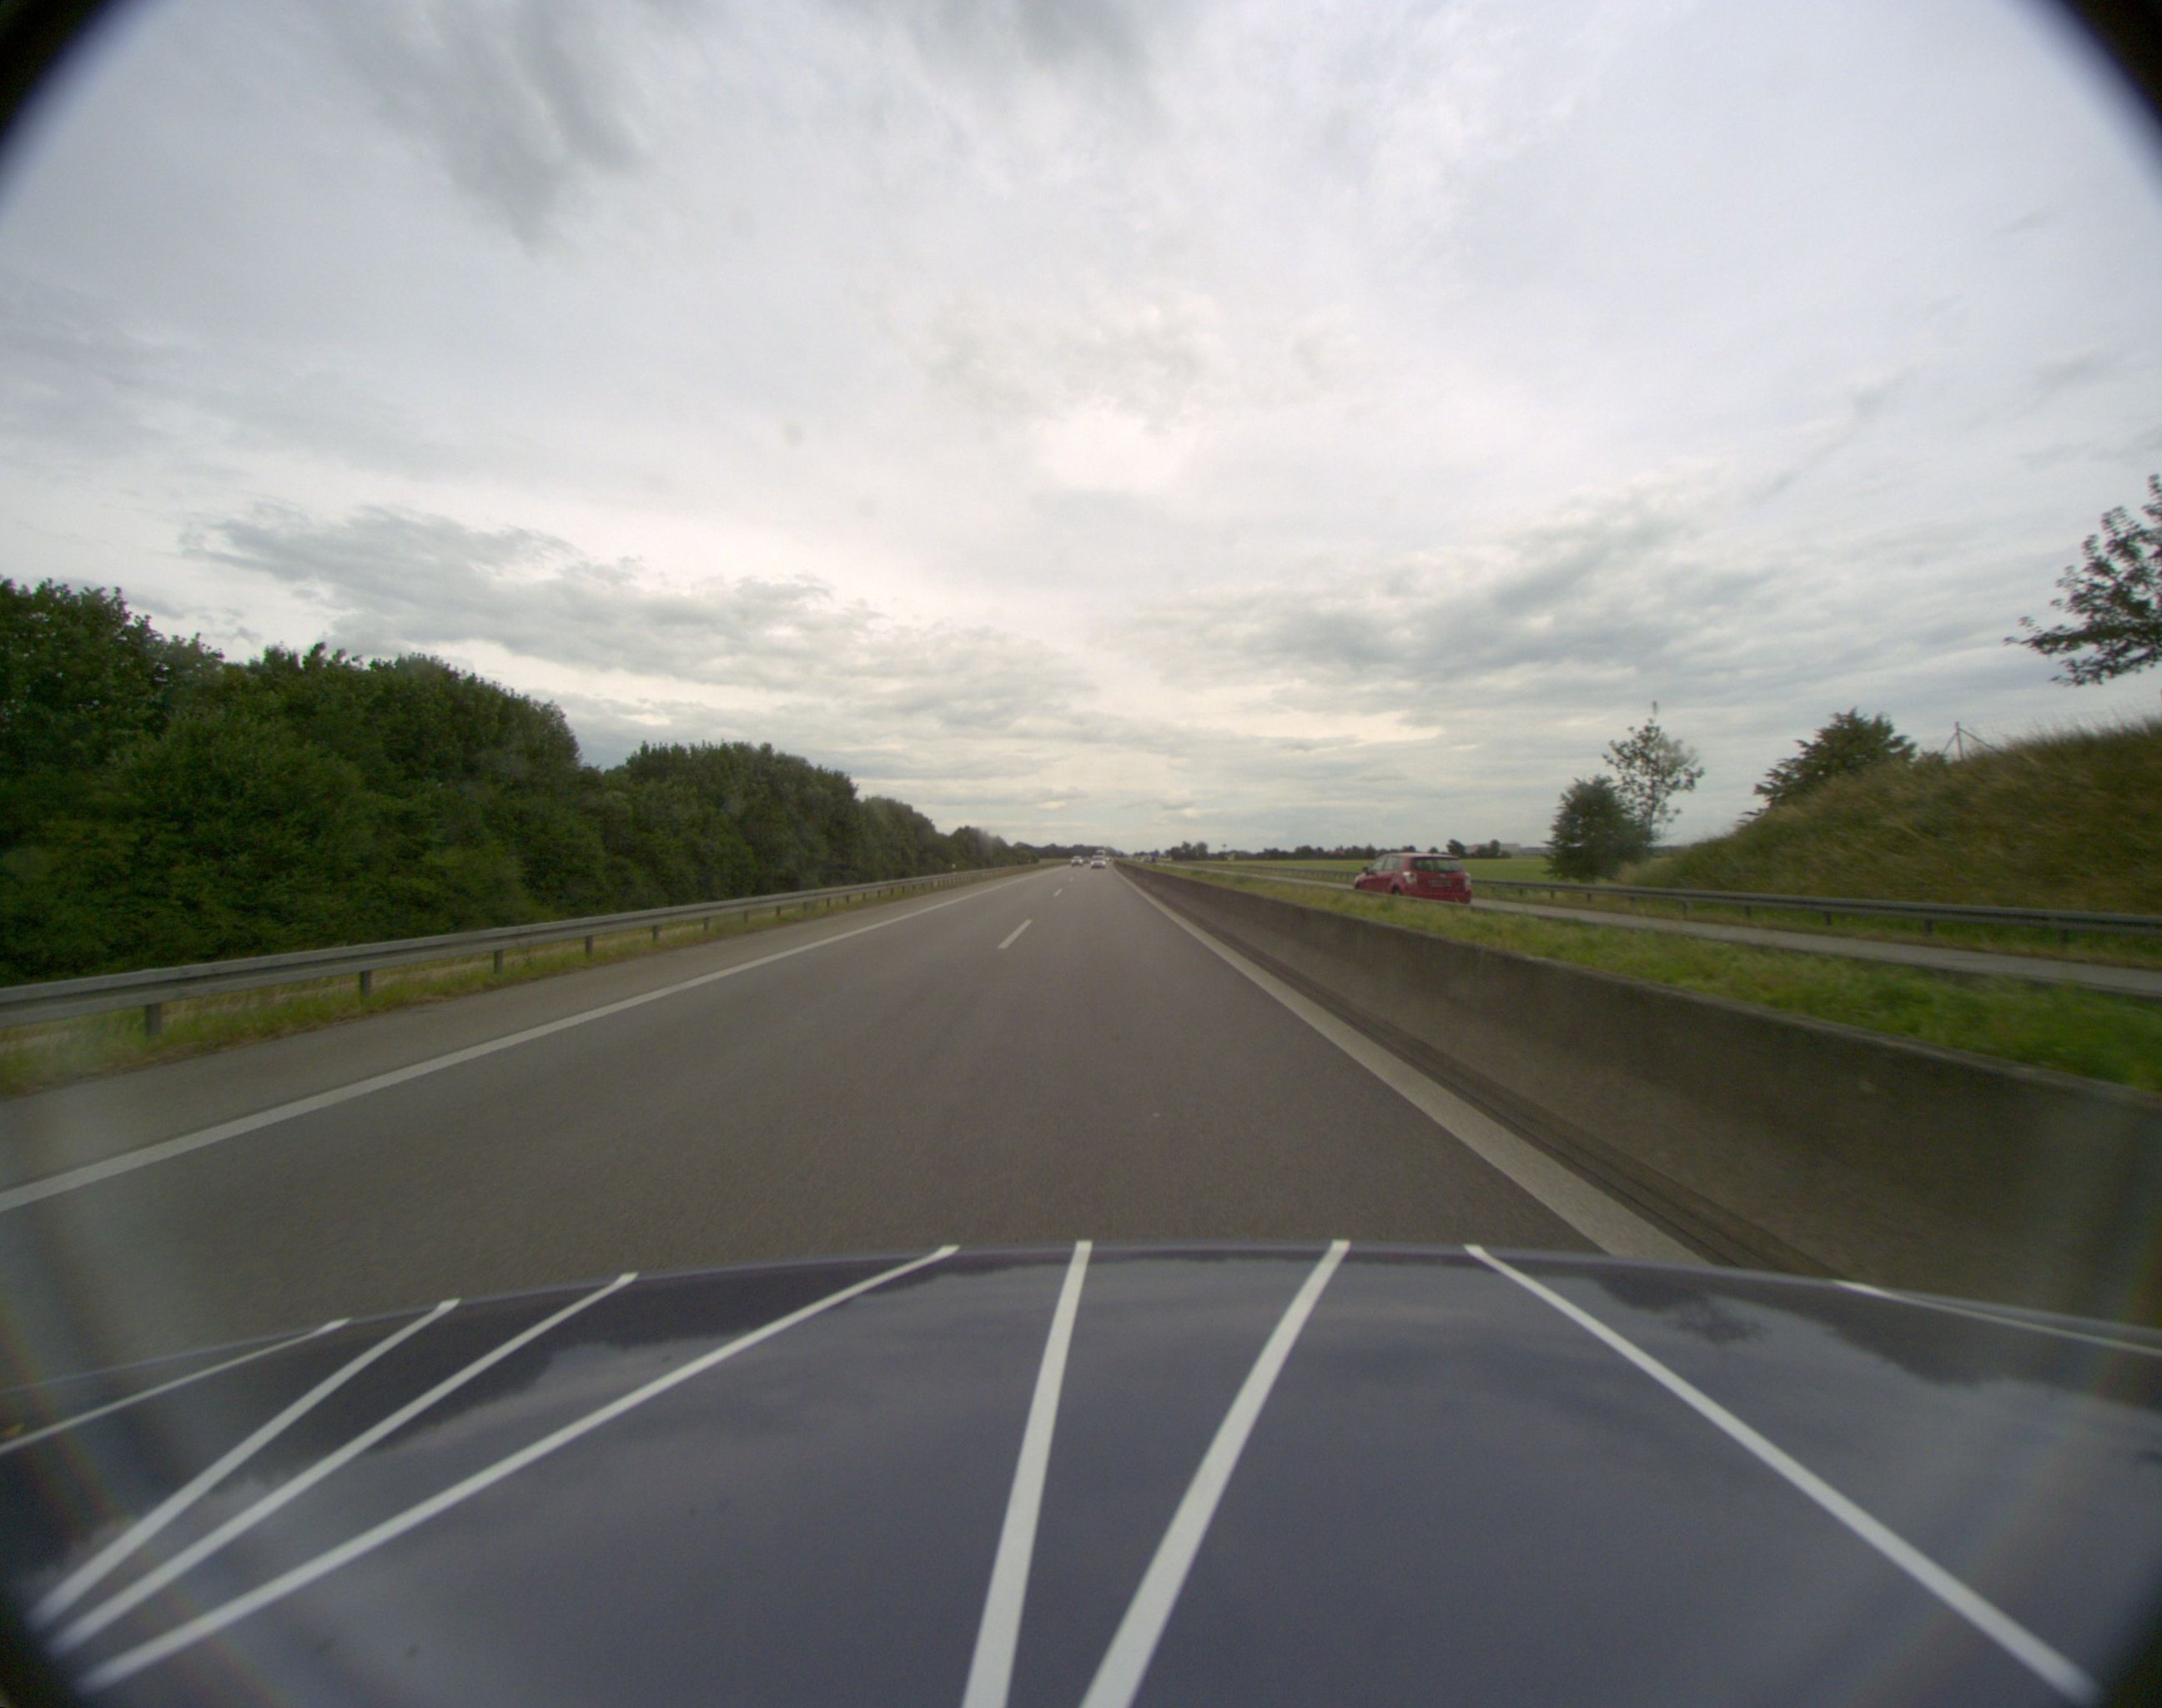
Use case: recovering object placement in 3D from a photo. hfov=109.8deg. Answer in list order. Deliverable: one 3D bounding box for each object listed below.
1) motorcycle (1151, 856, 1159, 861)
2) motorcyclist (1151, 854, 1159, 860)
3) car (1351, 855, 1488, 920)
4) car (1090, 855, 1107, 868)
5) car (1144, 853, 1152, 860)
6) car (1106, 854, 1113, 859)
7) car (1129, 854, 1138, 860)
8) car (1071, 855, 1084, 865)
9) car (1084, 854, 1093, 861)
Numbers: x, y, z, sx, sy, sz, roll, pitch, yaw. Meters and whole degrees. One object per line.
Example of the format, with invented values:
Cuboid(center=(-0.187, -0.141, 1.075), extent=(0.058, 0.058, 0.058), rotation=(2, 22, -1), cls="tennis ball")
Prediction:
Cuboid(center=(15.953, 1.029, 164.182), extent=(1.570, 1.072, 2.982), rotation=(1, 0, 2), cls="motorcycle")
Cuboid(center=(15.954, 0.689, 164.160), extent=(1.570, 1.363, 1.252), rotation=(1, 1, 1), cls="motorcyclist")
Cuboid(center=(9.108, 0.827, 20.906), extent=(1.850, 1.562, 4.361), rotation=(1, 0, 1), cls="car")
Cuboid(center=(2.223, 0.905, 96.152), extent=(1.916, 1.553, 4.287), rotation=(-1, 0, -2), cls="car")
Cuboid(center=(17.044, 0.634, 193.863), extent=(1.840, 1.617, 4.691), rotation=(1, 0, 2), cls="car")
Cuboid(center=(8.306, 0.683, 219.981), extent=(1.915, 1.553, 4.289), rotation=(-1, 0, 3), cls="car")
Cuboid(center=(12.502, 0.698, 181.466), extent=(1.870, 1.565, 4.694), rotation=(1, 0, 0), cls="car")
Cuboid(center=(-0.556, 1.003, 127.896), extent=(1.915, 1.553, 4.289), rotation=(-1, 0, 3), cls="car")
Cuboid(center=(1.768, 0.880, 176.096), extent=(1.915, 1.553, 4.289), rotation=(-1, 0, 3), cls="car")
